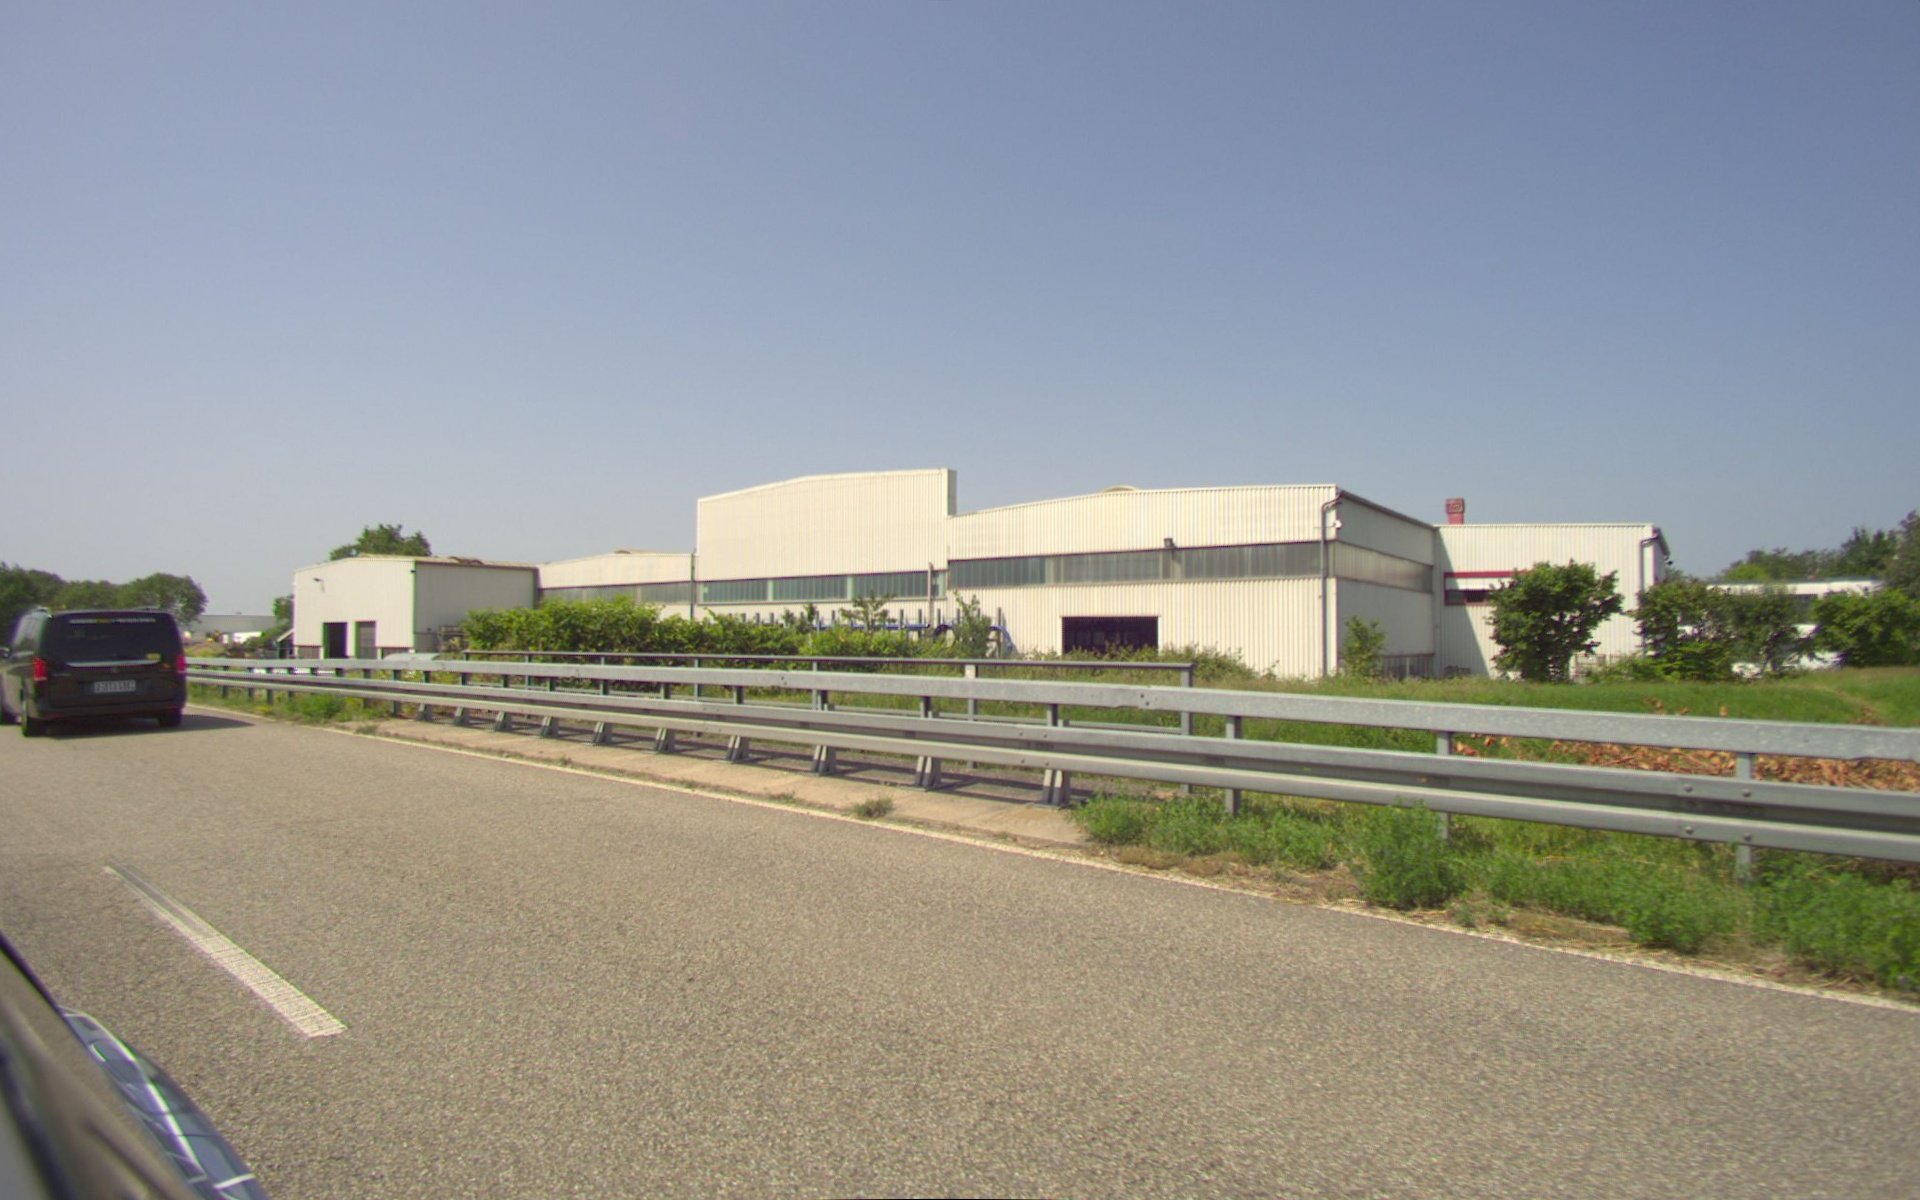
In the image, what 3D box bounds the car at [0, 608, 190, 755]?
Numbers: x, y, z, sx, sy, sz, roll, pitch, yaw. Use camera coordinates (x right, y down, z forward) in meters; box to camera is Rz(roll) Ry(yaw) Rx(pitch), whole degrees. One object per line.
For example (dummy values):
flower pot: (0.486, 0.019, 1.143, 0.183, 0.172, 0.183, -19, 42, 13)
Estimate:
car: (-14.342, 1.222, 16.441, 5.366, 2.029, 1.873, -3, -2, 41)
